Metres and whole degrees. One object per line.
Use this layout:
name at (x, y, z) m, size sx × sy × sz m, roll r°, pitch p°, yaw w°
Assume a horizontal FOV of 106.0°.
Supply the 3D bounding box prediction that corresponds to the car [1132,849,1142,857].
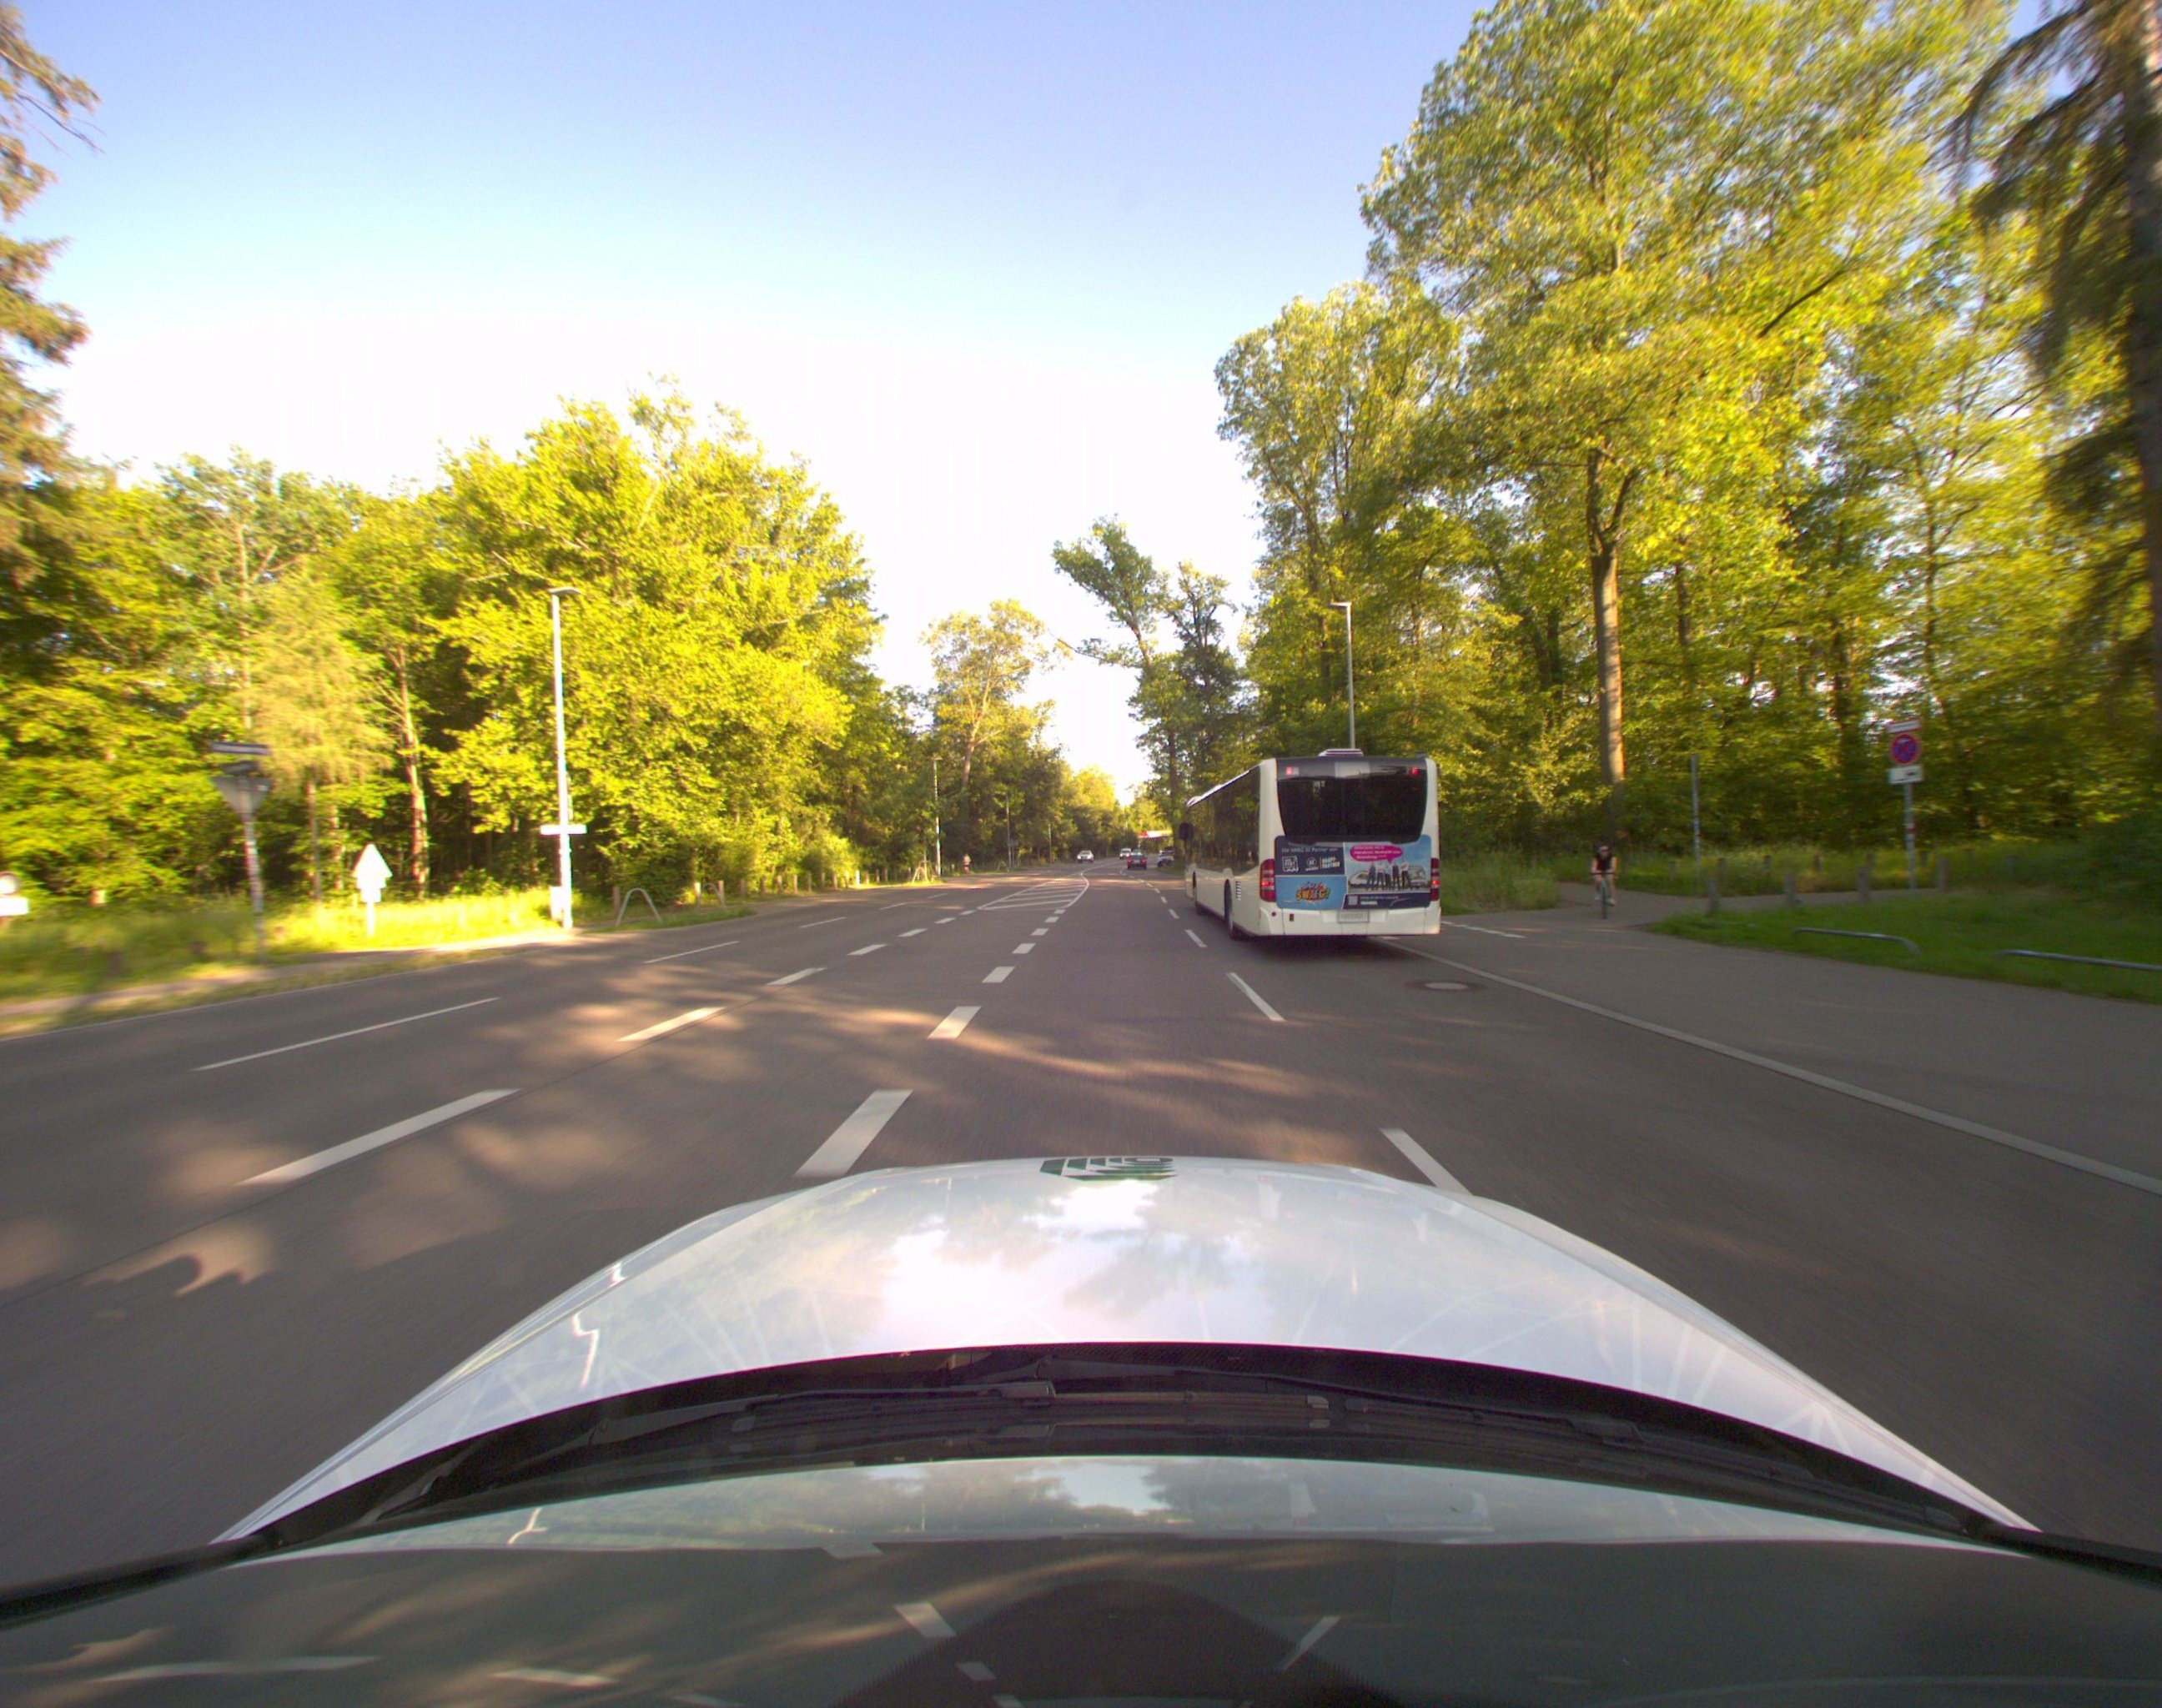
car at (11.059, -0.144, 161.750) m, size 1.855 × 1.565 × 4.004 m, roll -2°, pitch -1°, yaw 4°

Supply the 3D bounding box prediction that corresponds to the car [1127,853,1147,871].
car at (4.999, 0.707, 72.613) m, size 1.624 × 1.547 × 4.138 m, roll -1°, pitch 0°, yaw 6°

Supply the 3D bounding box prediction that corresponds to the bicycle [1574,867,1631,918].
bicycle at (11.099, 0.794, 17.382) m, size 0.546 × 0.967 × 1.765 m, roll -1°, pitch 1°, yaw 16°

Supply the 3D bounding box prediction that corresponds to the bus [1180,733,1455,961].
bus at (3.928, -0.052, 17.068) m, size 2.679 × 3.042 × 12.047 m, roll -1°, pitch 0°, yaw 2°

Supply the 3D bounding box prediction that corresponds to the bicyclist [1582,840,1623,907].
bicyclist at (11.128, 0.404, 17.406) m, size 0.475 × 1.385 × 0.882 m, roll -1°, pitch -1°, yaw 16°

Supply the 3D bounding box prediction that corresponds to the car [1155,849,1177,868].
car at (7.917, 0.398, 75.914) m, size 1.621 × 1.659 × 4.144 m, roll -1°, pitch -1°, yaw 11°

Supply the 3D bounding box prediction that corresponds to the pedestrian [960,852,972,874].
pedestrian at (-9.379, 0.714, 66.410) m, size 0.776 × 1.812 × 0.770 m, roll -1°, pitch 0°, yaw 1°

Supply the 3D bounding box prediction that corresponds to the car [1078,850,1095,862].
car at (0.733, 0.251, 110.237) m, size 1.854 × 1.537 × 4.138 m, roll -1°, pitch 0°, yaw 6°

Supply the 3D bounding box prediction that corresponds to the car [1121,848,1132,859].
car at (7.700, -0.048, 137.405) m, size 1.855 × 1.729 × 4.003 m, roll -1°, pitch 0°, yaw 3°
